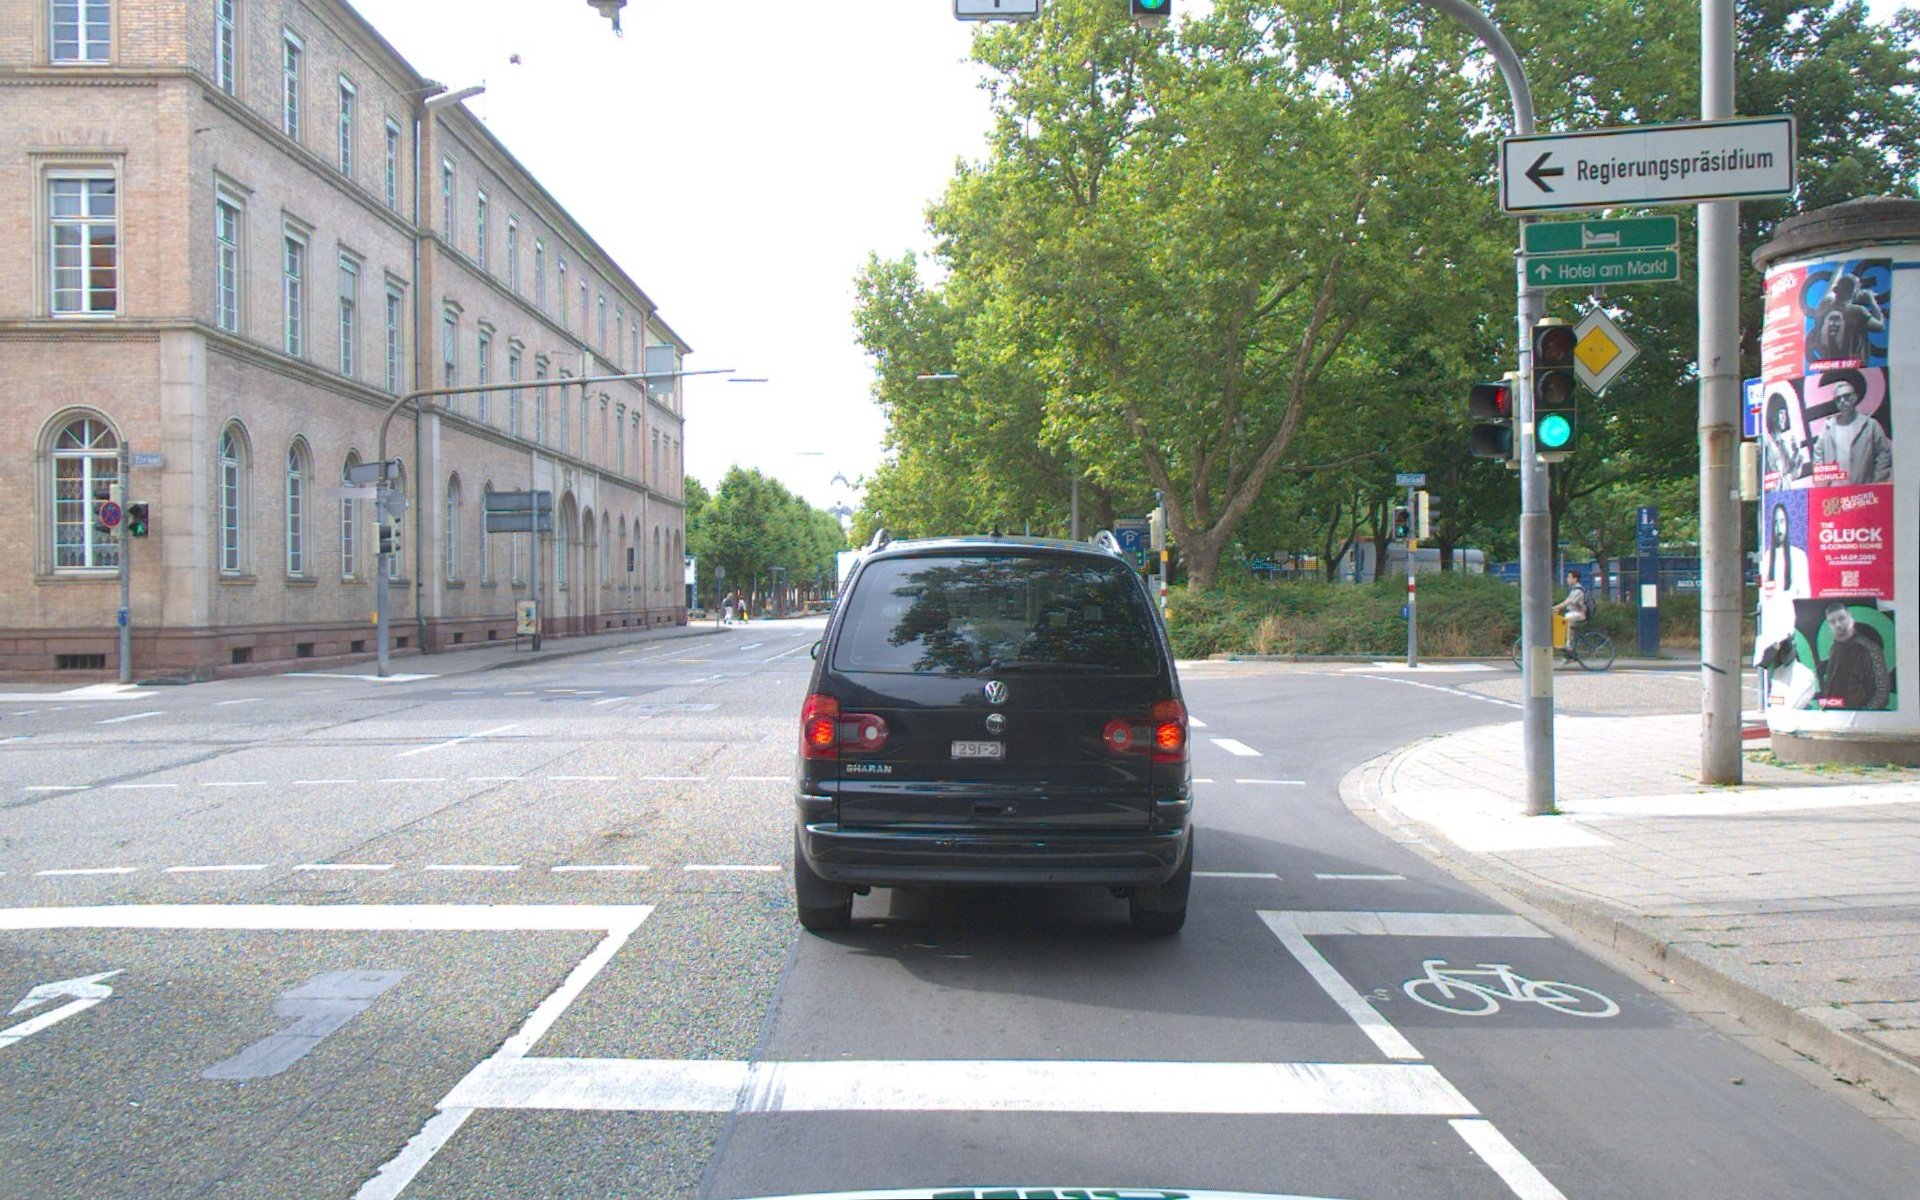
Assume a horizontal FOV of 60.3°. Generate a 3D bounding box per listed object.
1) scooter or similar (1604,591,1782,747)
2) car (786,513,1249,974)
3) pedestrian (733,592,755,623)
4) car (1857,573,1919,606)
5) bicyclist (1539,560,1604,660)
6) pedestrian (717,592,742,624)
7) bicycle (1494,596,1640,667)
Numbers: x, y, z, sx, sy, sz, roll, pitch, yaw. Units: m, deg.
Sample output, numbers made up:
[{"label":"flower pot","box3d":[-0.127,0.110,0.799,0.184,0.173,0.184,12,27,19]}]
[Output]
[{"label":"scooter or similar","box3d":[6.133,0.574,13.868,1.279,1.230,0.344,-3,0,4]},{"label":"car","box3d":[0.182,0.541,8.407,1.757,1.738,4.130,-1,0,-1]},{"label":"pedestrian","box3d":[-12.113,0.417,92.811,0.877,1.670,0.853,1,0,17]},{"label":"car","box3d":[47.006,-0.518,82.824,1.954,1.608,3.787,1,0,-4]},{"label":"bicyclist","box3d":[10.665,0.180,28.872,0.811,1.707,0.916,-1,-1,4]},{"label":"pedestrian","box3d":[-12.941,0.428,93.005,0.940,1.772,1.256,1,0,17]},{"label":"bicycle","box3d":[10.571,0.549,28.868,2.197,1.193,0.916,-1,-1,4]}]
